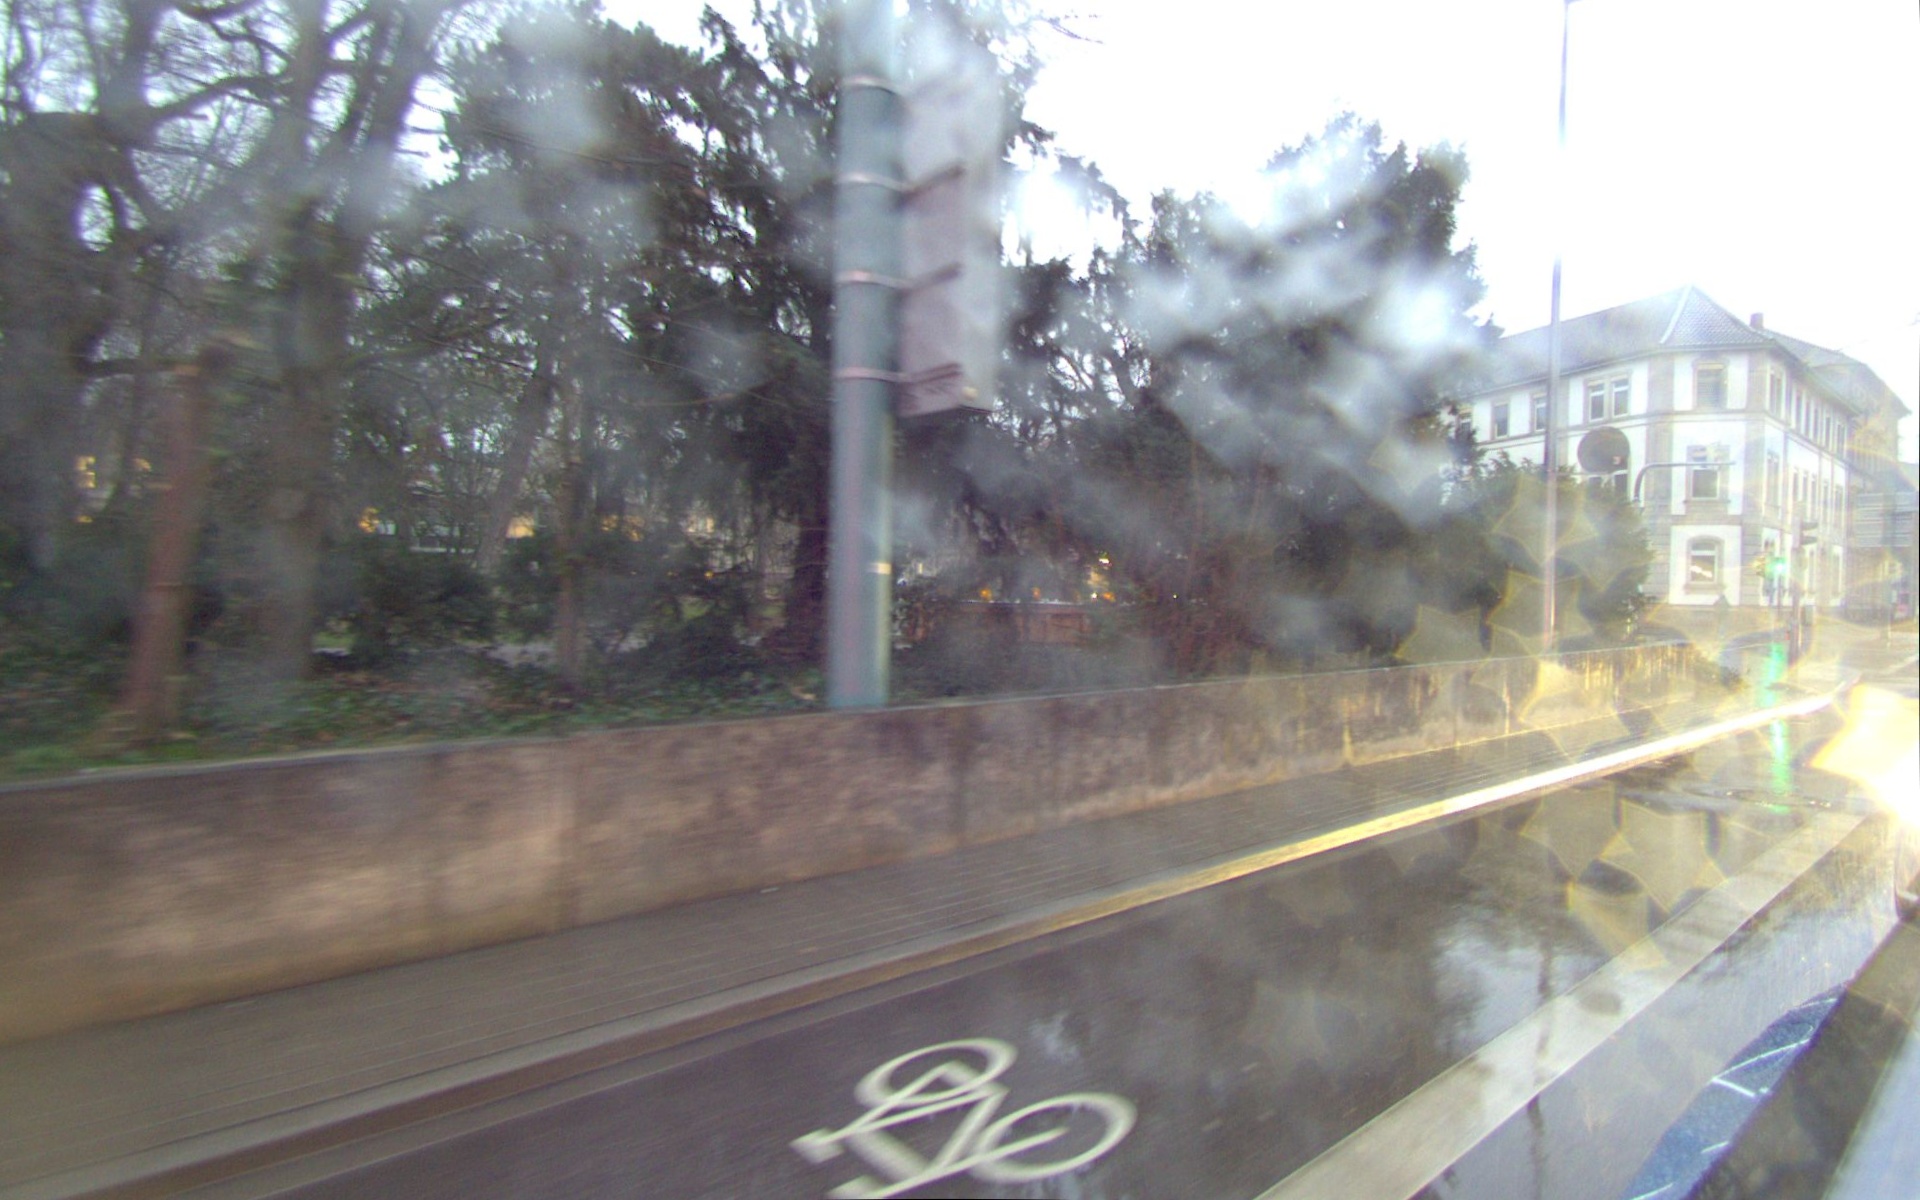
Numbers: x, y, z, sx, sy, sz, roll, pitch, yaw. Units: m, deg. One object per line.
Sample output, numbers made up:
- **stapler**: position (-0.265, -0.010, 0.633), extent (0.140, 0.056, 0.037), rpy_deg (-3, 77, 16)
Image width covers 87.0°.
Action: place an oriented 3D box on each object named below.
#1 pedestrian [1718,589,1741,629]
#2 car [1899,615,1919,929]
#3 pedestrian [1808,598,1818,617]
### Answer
- **pedestrian**: position (29.839, 0.336, 39.247), extent (0.515, 1.529, 0.584), rpy_deg (1, 1, 21)
- **car**: position (6.291, 0.760, 5.178), extent (3.912, 1.388, 1.796), rpy_deg (0, 0, -41)
- **pedestrian**: position (42.619, 0.367, 50.563), extent (0.370, 0.917, 0.325), rpy_deg (0, 1, -41)
